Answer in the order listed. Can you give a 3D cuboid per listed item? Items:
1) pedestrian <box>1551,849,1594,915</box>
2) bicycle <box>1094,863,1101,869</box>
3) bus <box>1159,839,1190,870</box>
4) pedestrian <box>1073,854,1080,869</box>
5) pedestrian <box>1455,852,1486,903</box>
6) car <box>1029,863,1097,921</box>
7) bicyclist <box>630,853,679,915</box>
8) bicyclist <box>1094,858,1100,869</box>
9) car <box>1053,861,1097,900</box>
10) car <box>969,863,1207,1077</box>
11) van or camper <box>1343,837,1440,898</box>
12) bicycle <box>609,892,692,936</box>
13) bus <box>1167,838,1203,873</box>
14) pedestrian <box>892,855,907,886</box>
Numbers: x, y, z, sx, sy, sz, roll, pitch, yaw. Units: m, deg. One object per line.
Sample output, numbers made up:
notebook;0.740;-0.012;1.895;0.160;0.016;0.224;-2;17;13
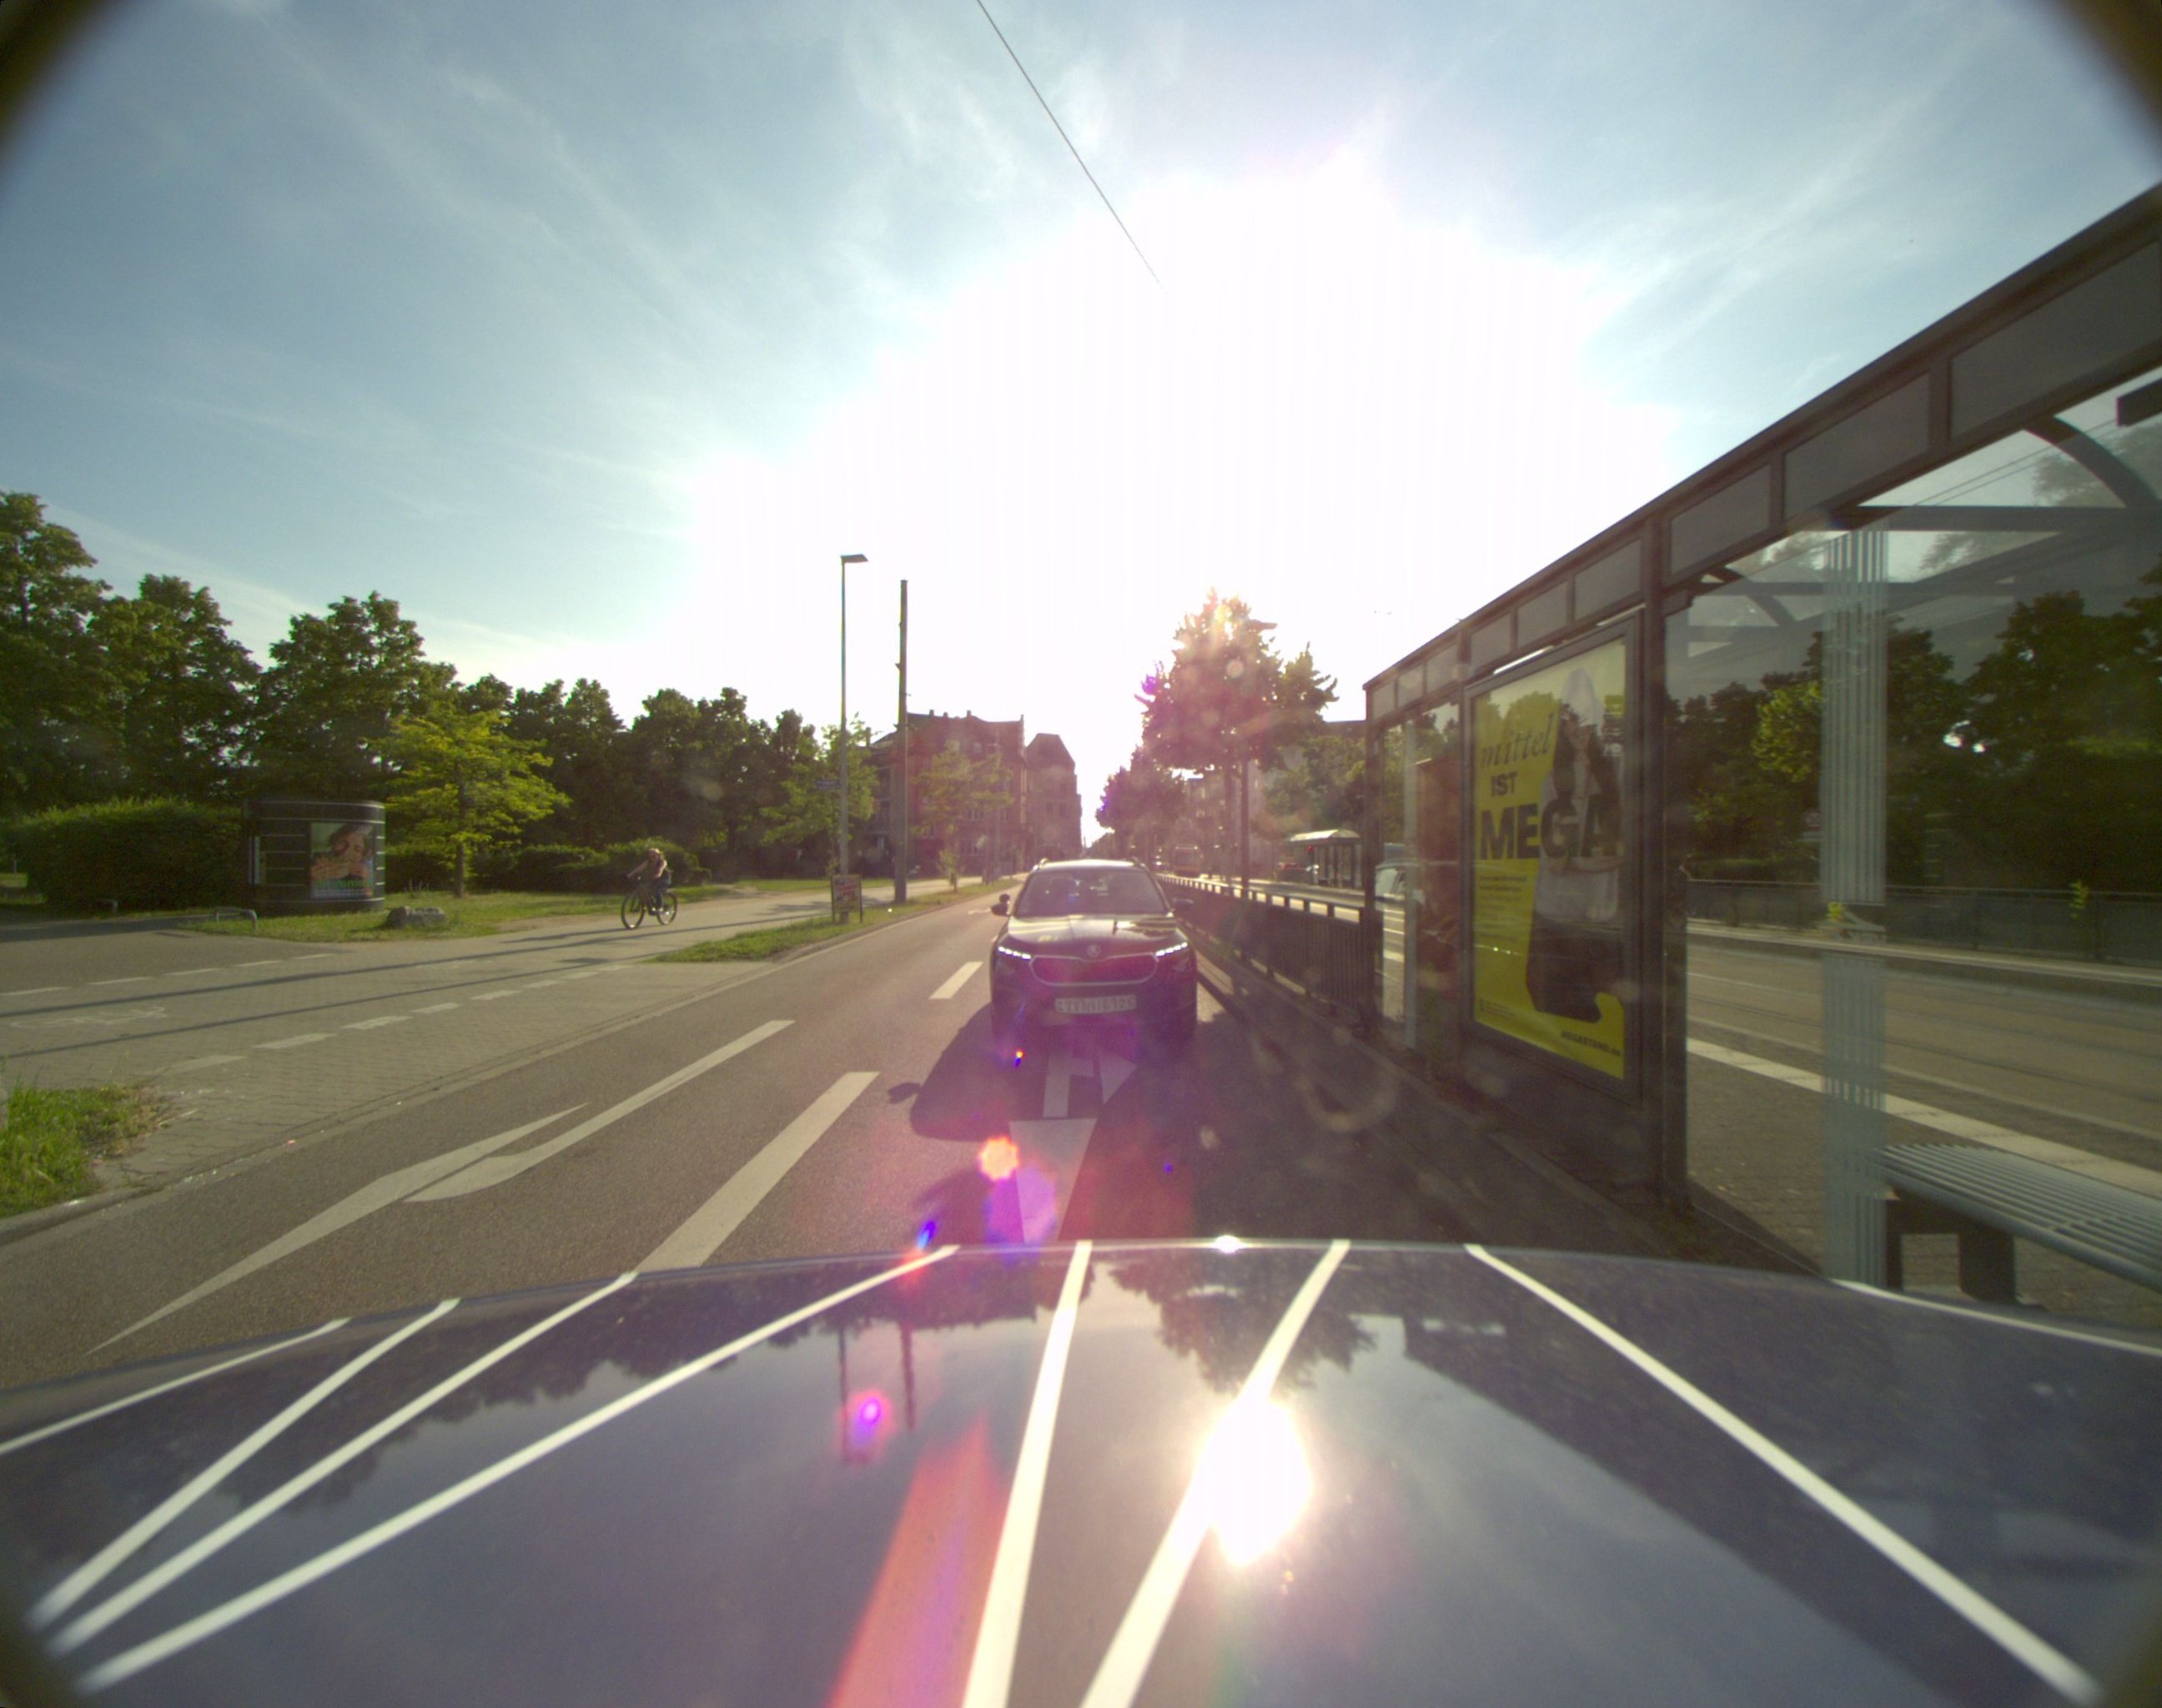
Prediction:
pedestrian;13.024;0.728;20.139;0.621;1.674;0.618;3;0;0
bicycle;2.172;1.556;100.282;0.566;0.789;2.043;0;0;12
bus;10.910;0.022;89.599;2.437;3.415;9.260;-2;1;0
pedestrian;-0.481;0.759;76.865;0.637;1.512;0.844;-2;1;-4
pedestrian;13.260;0.790;25.886;0.621;1.674;0.618;3;0;0
car;-0.463;1.024;22.229;1.756;1.451;4.235;-1;0;0
bicyclist;-8.932;0.613;15.934;0.535;1.255;0.869;0;0;0
bicyclist;2.136;1.273;100.276;0.688;1.445;1.112;0;0;11
car;-0.230;1.106;33.441;1.756;1.534;4.235;-1;0;0
car;0.069;0.903;7.842;1.756;1.534;4.235;-1;0;0
van or camper;16.529;0.659;40.929;2.527;2.951;6.410;-2;1;0
bicycle;-8.936;1.228;15.880;0.496;0.753;2.168;1;0;0
bus;10.868;0.101;80.330;2.437;3.415;9.260;-2;1;0
pedestrian;-10.001;0.901;41.815;0.621;1.675;0.618;-2;0;0
